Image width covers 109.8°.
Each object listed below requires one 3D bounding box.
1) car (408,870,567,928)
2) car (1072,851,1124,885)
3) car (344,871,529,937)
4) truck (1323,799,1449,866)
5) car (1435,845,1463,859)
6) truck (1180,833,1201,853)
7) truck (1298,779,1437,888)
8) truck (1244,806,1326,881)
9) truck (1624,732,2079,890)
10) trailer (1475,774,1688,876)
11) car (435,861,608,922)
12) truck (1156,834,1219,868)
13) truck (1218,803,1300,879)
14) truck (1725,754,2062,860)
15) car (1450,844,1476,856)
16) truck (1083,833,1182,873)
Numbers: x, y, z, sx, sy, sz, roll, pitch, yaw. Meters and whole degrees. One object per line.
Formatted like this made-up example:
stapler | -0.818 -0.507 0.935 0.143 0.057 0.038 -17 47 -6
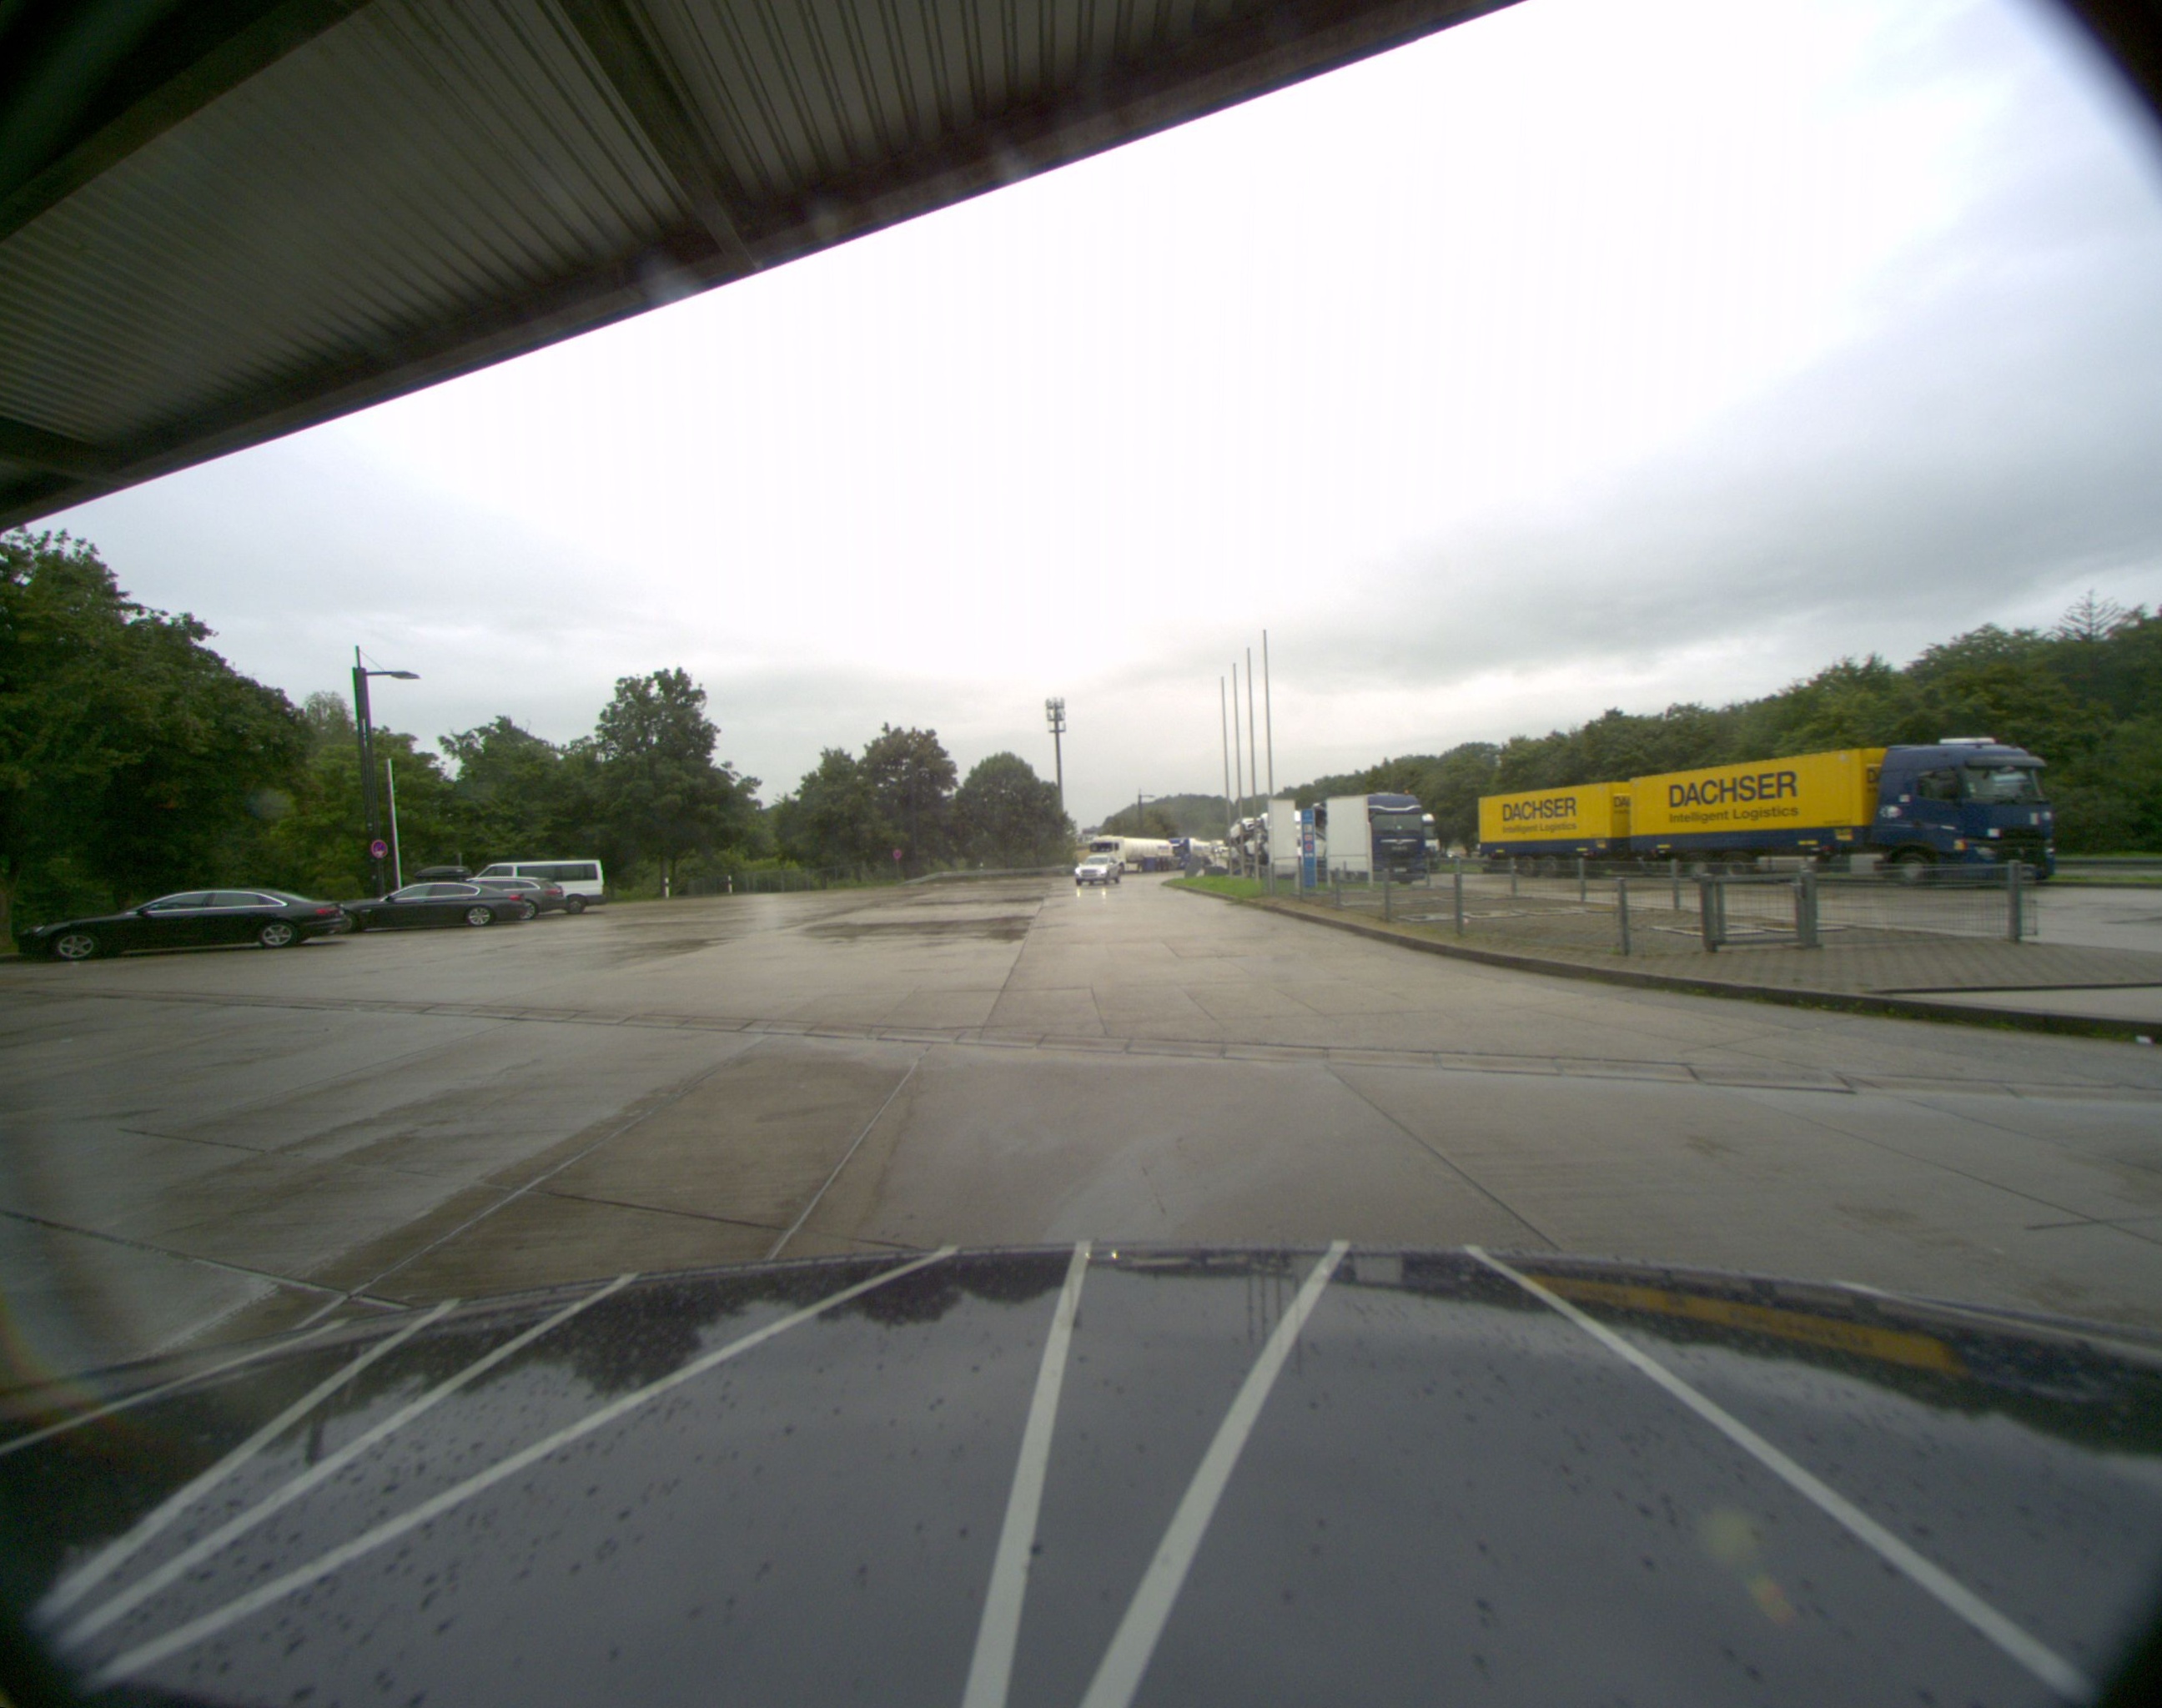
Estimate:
car | -19.469 1.424 25.161 4.007 1.650 1.596 -2 0 -35
car | 1.092 0.781 44.891 1.864 1.788 4.544 -2 0 17
car | -18.874 1.391 22.509 4.007 1.650 1.596 -2 0 -35
truck | 19.884 -1.298 50.573 2.757 3.894 10.678 -2 1 -8
car | 51.481 -0.302 106.311 1.889 1.813 3.999 -2 1 1
truck | 30.073 -2.994 209.524 3.145 5.092 11.515 -2 1 -5
truck | 12.186 -0.796 33.184 2.665 4.157 7.103 -2 0 -6
truck | 11.048 -0.558 41.592 2.665 3.750 4.747 -2 1 -6
truck | 23.156 -1.126 24.331 2.757 3.894 10.678 -2 1 -8
trailer | 21.794 -1.183 33.952 2.757 3.894 8.700 -2 1 -9
car | -20.425 1.285 27.998 4.898 1.938 2.310 -2 0 -35
truck | 12.780 -0.402 89.693 3.506 3.584 14.686 -2 0 23
truck | 10.572 -0.726 45.782 2.665 4.157 6.618 -2 1 -6
truck | 33.913 -1.757 32.718 2.421 3.785 10.223 -2 1 -10
car | 57.327 -0.613 113.971 1.889 1.813 3.999 -2 1 1
truck | 5.453 -0.161 75.212 3.505 3.584 14.426 -2 0 31
